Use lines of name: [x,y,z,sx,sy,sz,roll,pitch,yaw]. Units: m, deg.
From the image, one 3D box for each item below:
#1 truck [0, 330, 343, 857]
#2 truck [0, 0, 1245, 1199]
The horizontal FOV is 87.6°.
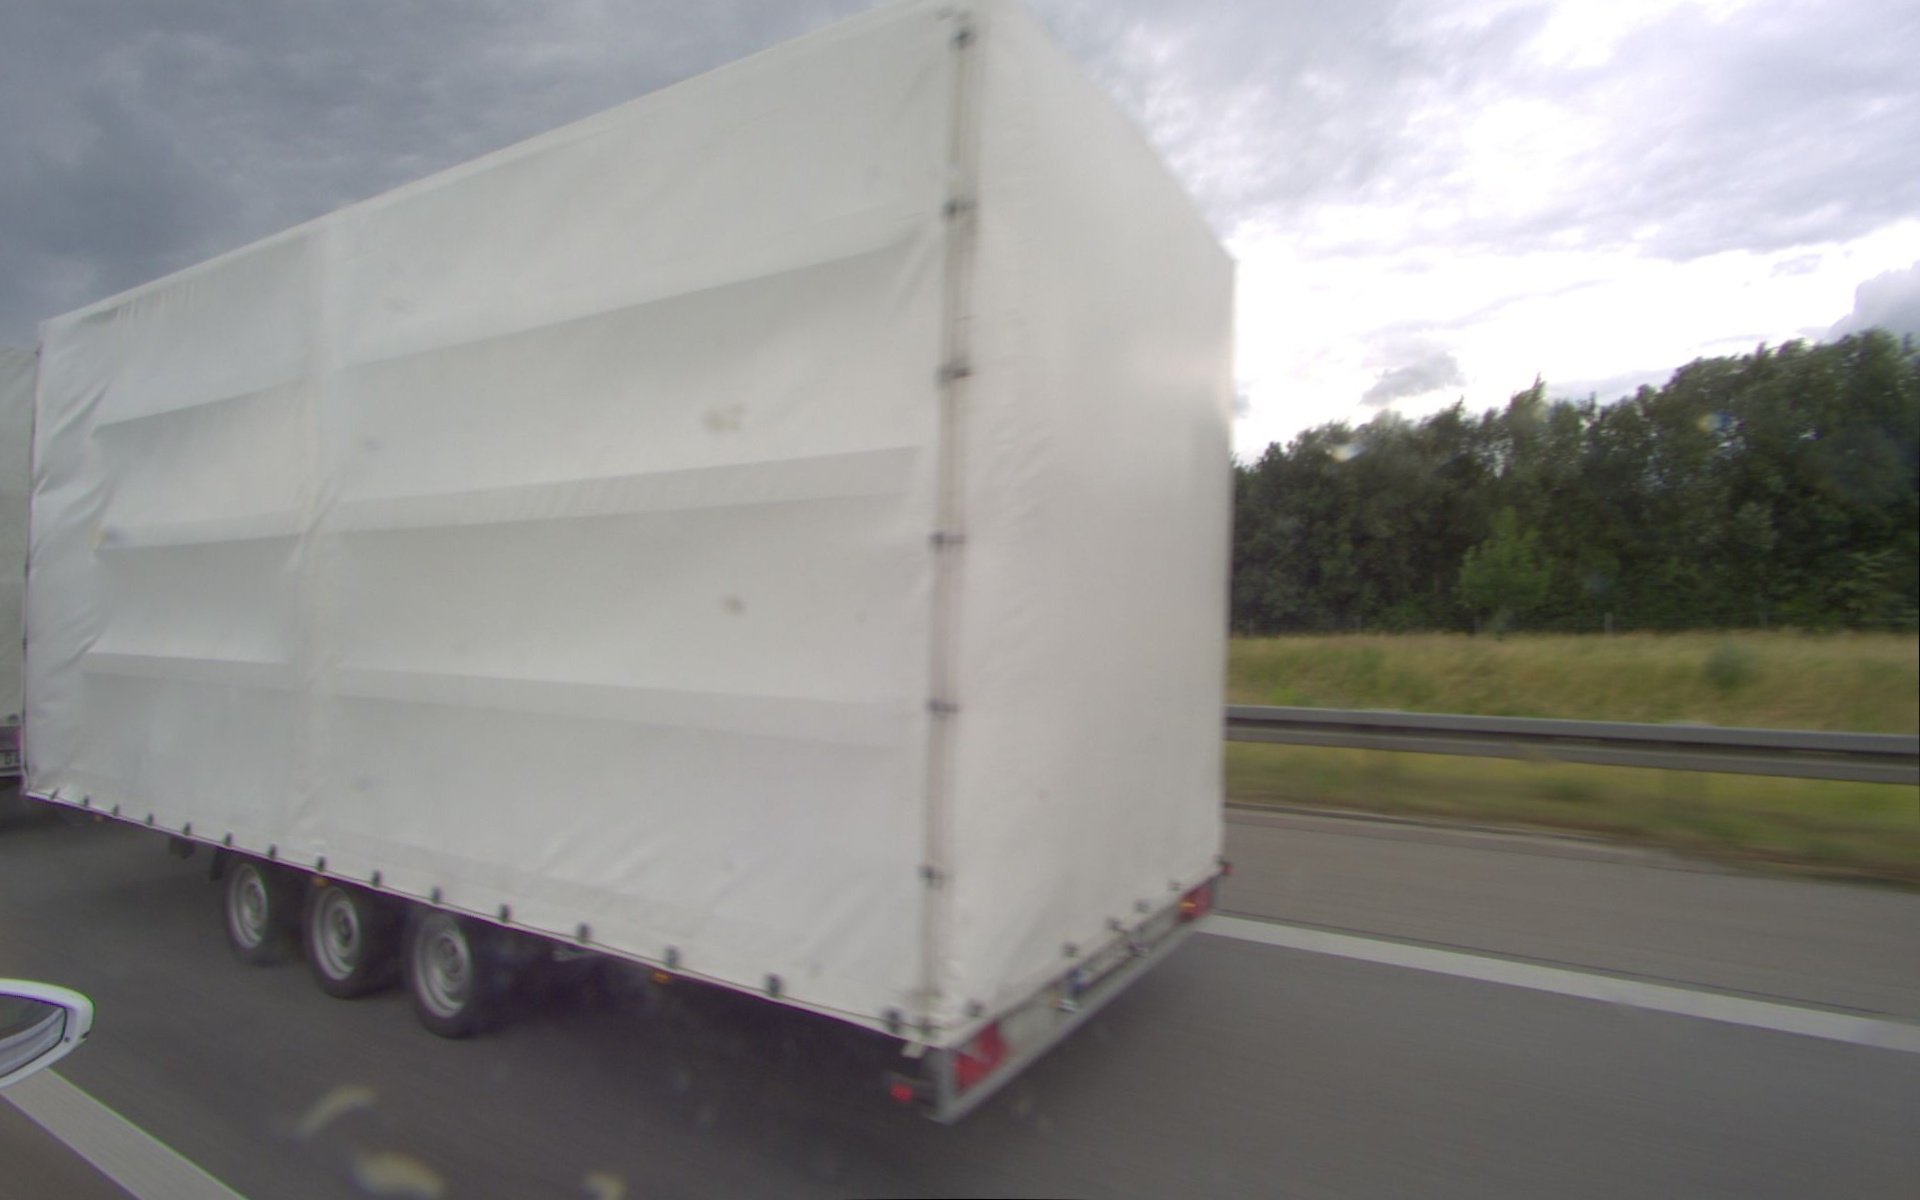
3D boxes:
truck: [-8.621,0.022,8.812,7.140,3.285,2.426,-1,-1,31]
truck: [-2.395,-0.054,5.081,7.038,3.264,2.412,-1,-1,31]
